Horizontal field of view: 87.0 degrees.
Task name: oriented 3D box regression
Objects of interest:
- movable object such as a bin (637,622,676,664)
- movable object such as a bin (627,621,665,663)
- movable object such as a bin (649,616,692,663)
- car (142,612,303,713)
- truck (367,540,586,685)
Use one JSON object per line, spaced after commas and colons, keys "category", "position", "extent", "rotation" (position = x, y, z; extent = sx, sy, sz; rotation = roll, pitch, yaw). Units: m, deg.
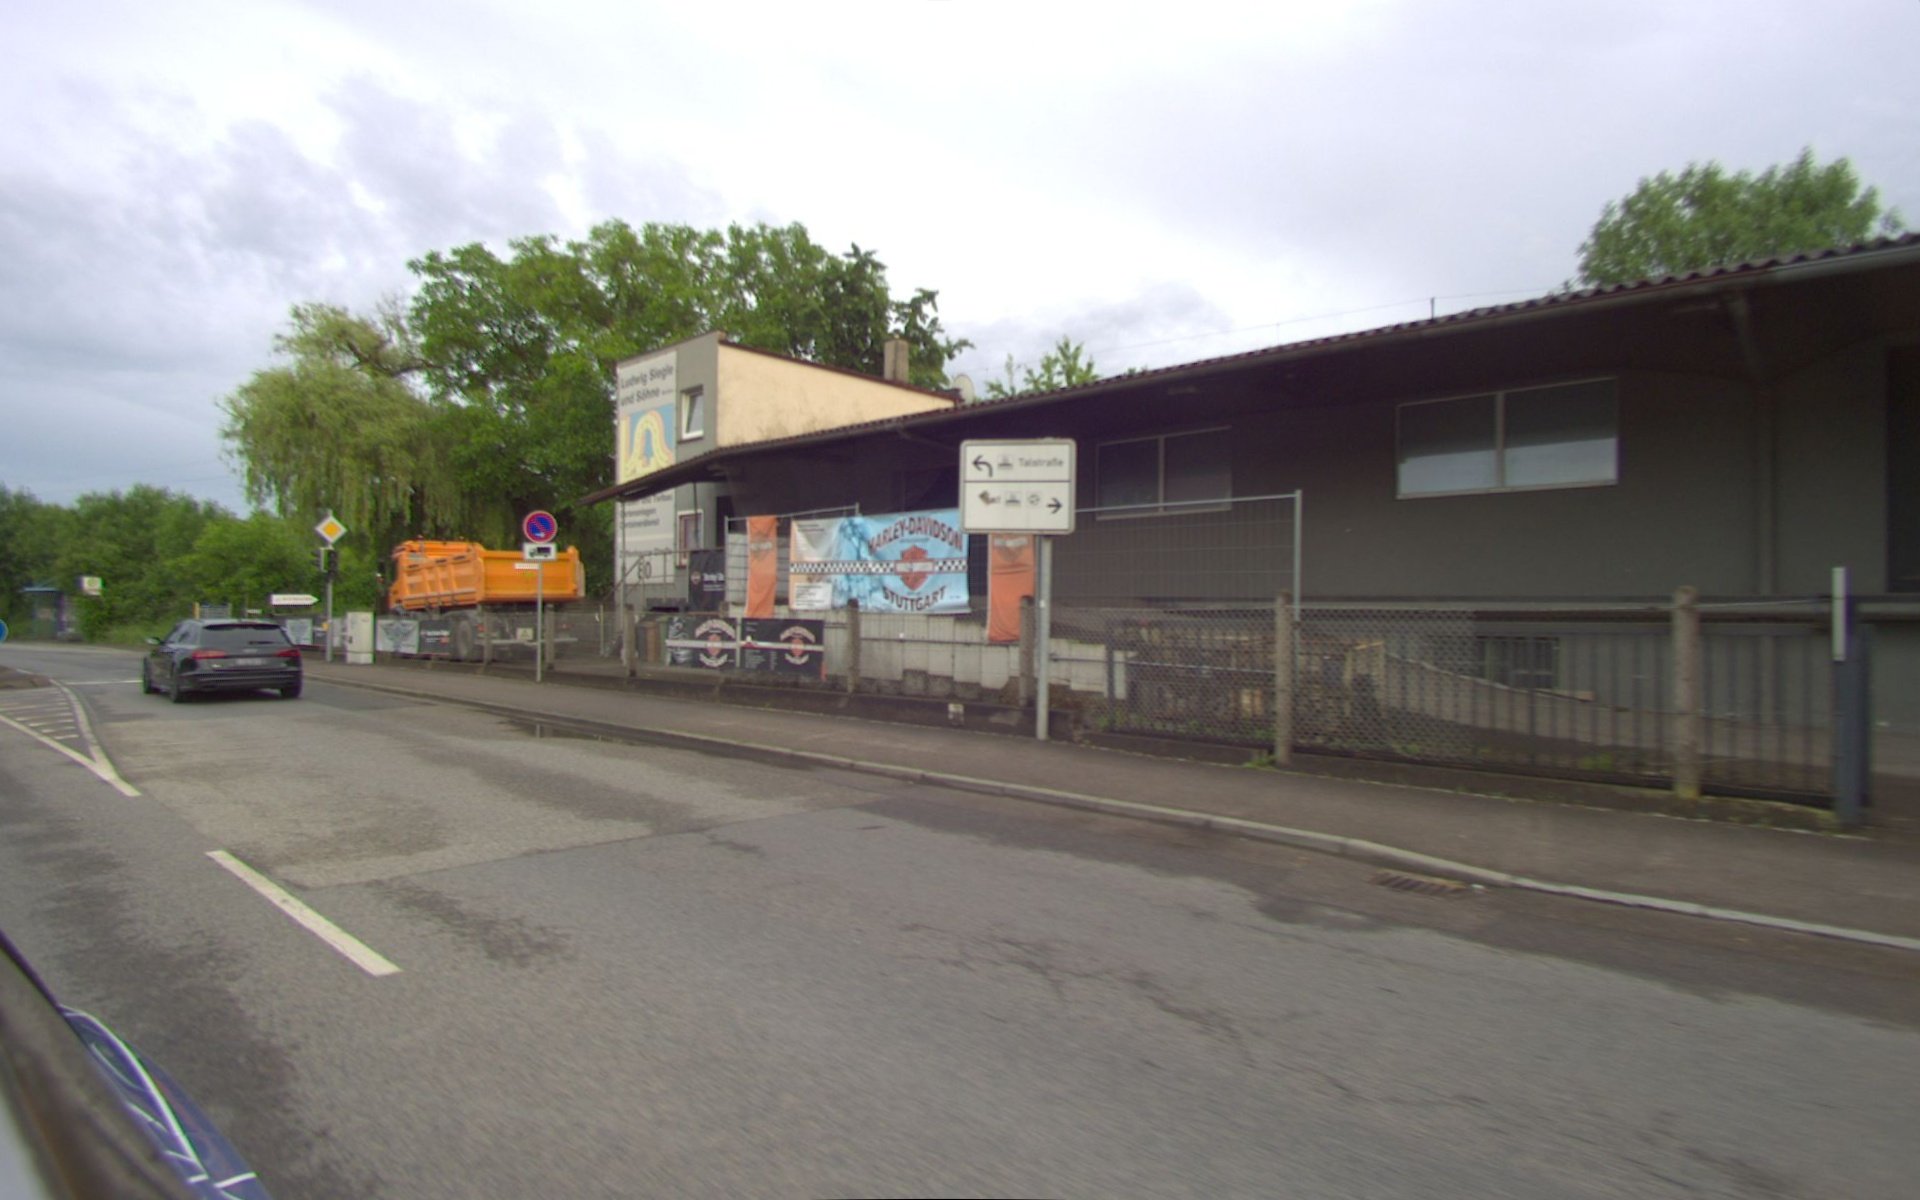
{"category": "movable object such as a bin", "position": [-7.149, 0.999, 23.863], "extent": [0.478, 0.963, 0.755], "rotation": [-1, -1, 42]}
{"category": "movable object such as a bin", "position": [-7.511, 0.994, 24.216], "extent": [0.460, 0.963, 0.741], "rotation": [-1, -1, 42]}
{"category": "movable object such as a bin", "position": [-6.719, 0.911, 23.487], "extent": [0.624, 1.064, 0.755], "rotation": [-1, -1, 42]}
{"category": "car", "position": [-13.715, 1.049, 18.719], "extent": [1.722, 1.462, 4.546], "rotation": [-1, 2, -45]}
{"category": "truck", "position": [-13.689, 0.154, 28.150], "extent": [2.666, 3.437, 9.079], "rotation": [-2, 3, -44]}
